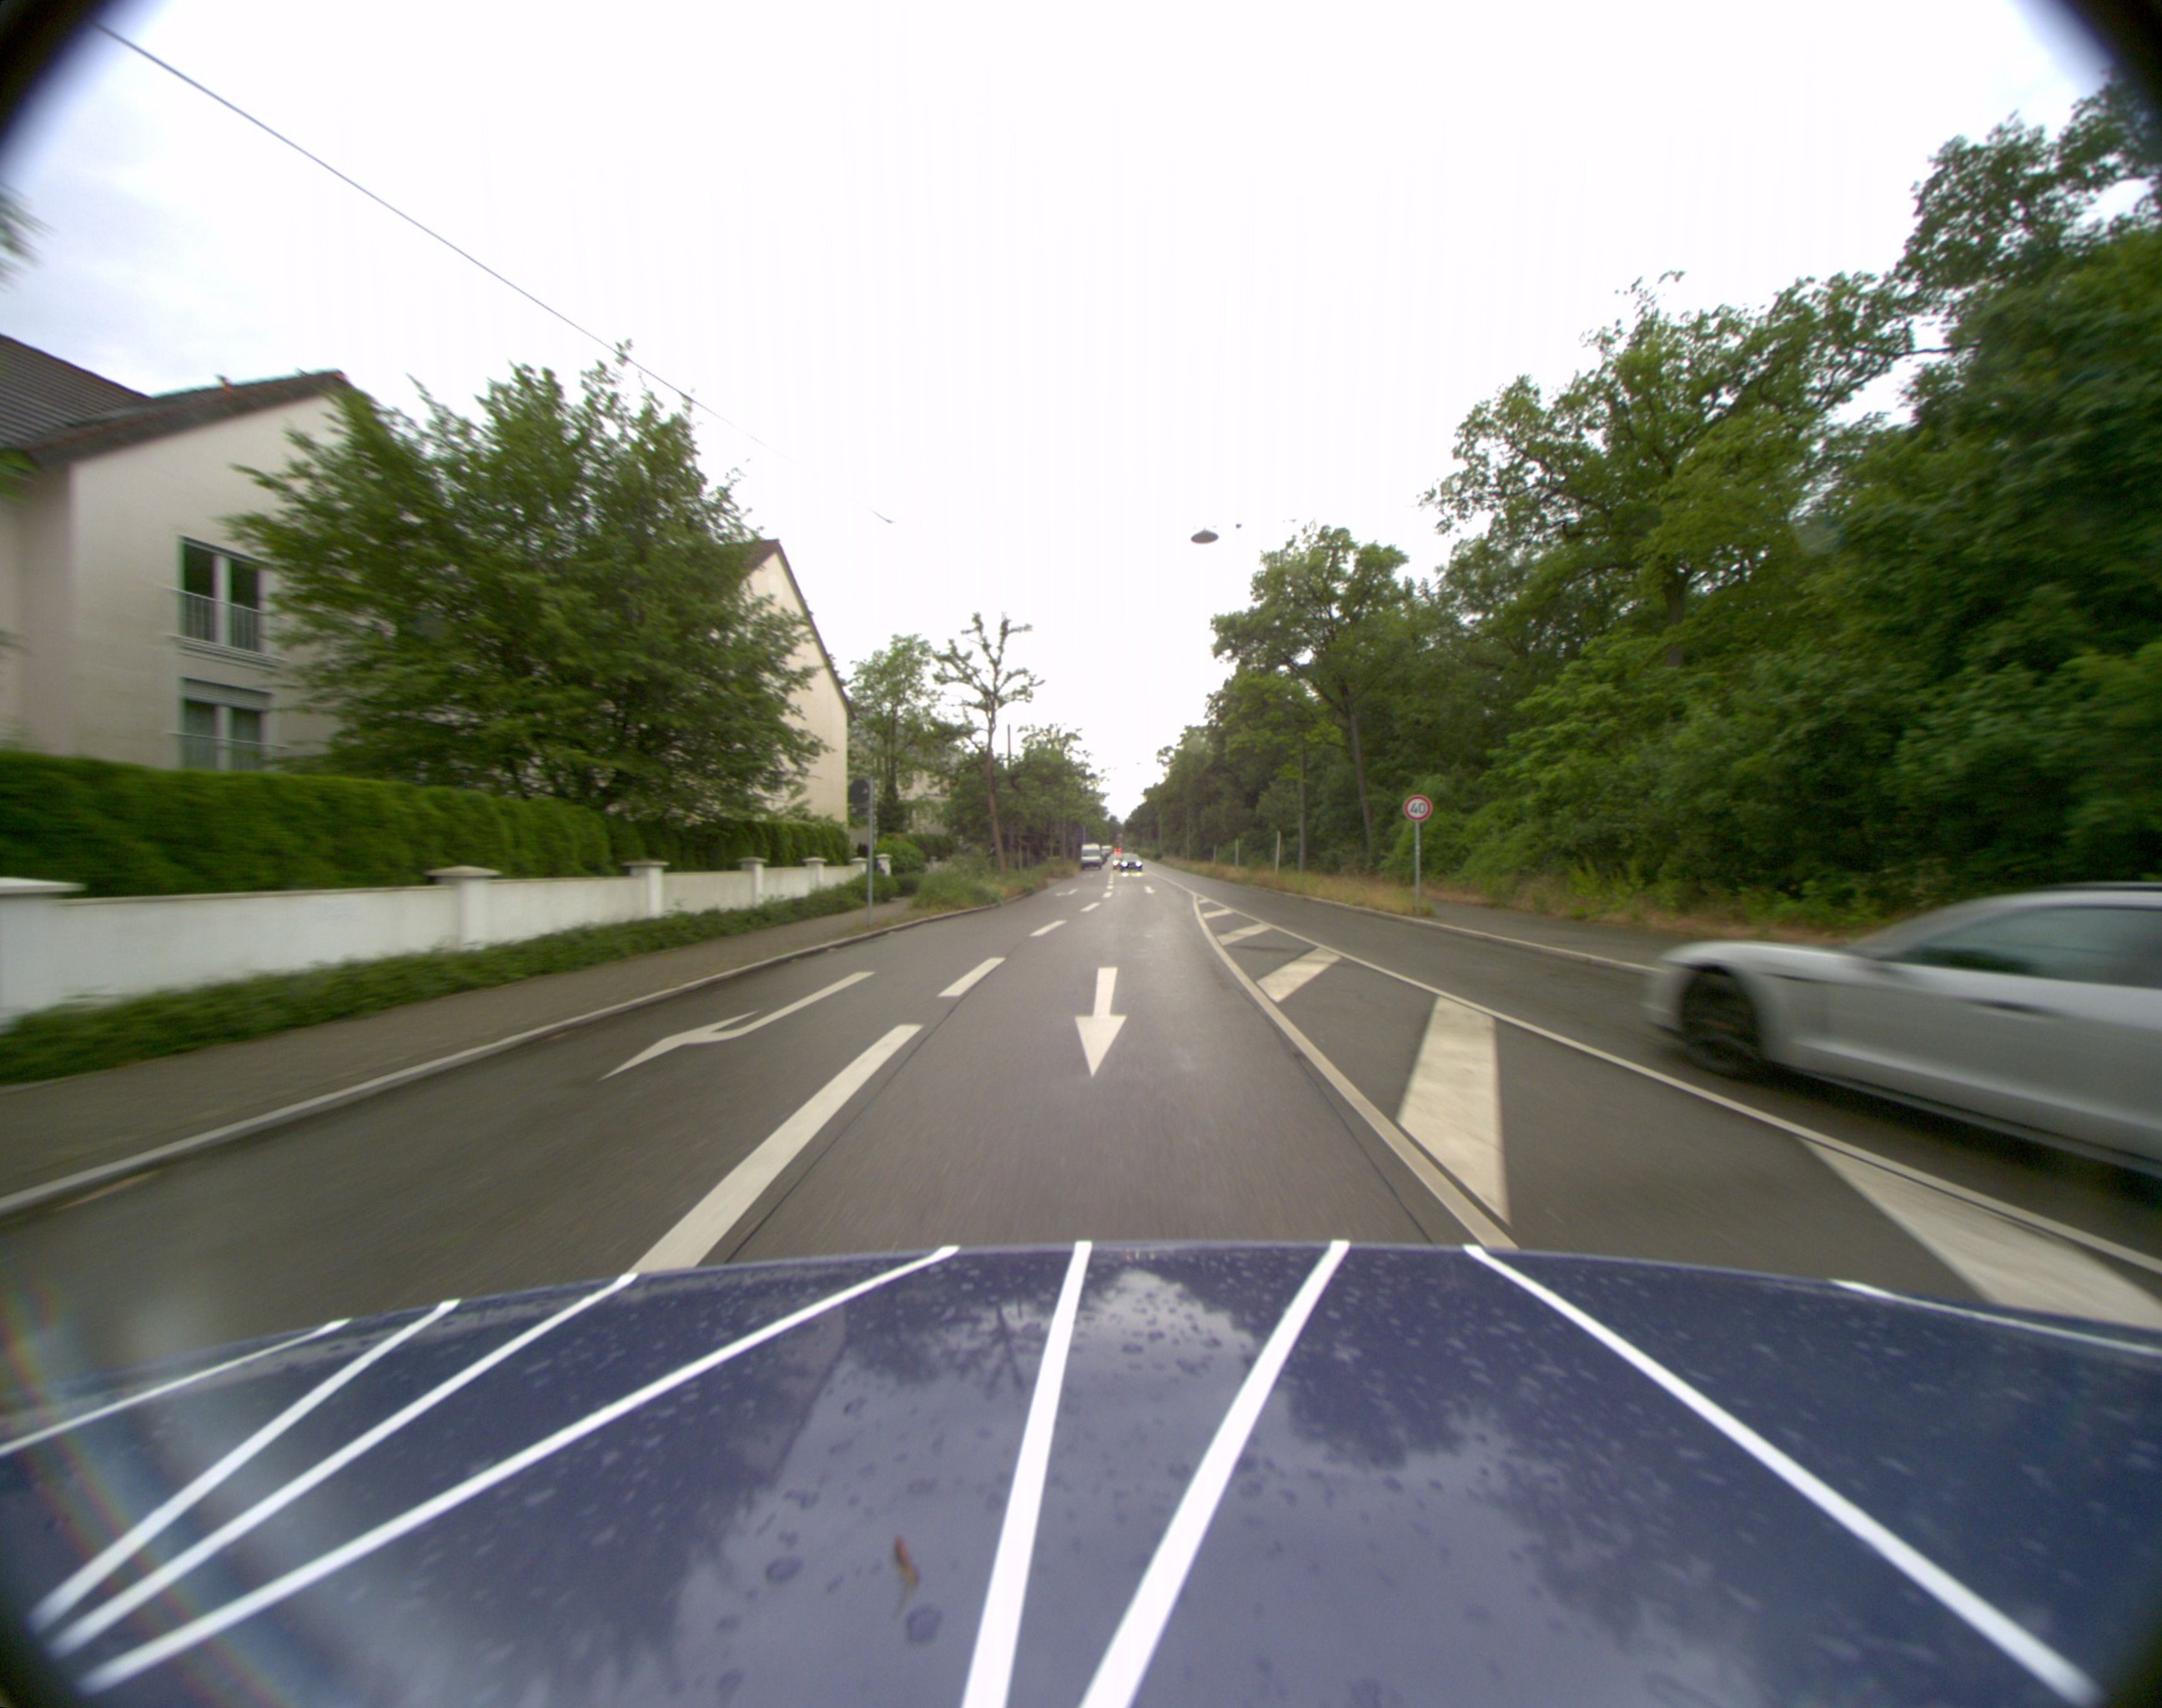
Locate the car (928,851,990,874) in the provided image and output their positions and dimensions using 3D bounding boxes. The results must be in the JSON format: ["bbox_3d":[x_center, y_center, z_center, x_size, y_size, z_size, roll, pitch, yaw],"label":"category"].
[{"bbox_3d":[-7.883,0.544,49.050,3.632,1.357,1.537,-1,1,11],"label":"car"}]

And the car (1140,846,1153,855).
[{"bbox_3d":[11.347,-0.586,131.388,1.944,1.594,4.604,1,0,2],"label":"car"}]

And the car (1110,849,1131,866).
[{"bbox_3d":[3.852,0.328,74.601,1.944,1.594,4.604,1,0,2],"label":"car"}]

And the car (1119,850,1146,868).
[{"bbox_3d":[4.353,0.388,64.745,1.945,1.446,4.604,1,0,0],"label":"car"}]

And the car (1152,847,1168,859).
[{"bbox_3d":[10.859,-0.104,104.843,1.944,1.594,4.604,1,0,2],"label":"car"}]

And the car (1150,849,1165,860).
[{"bbox_3d":[11.399,0.026,113.383,1.944,1.594,4.604,1,0,2],"label":"car"}]

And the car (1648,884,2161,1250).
[{"bbox_3d":[5.342,0.933,3.393,1.946,1.368,4.602,1,0,-4],"label":"car"}]

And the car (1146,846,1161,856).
[{"bbox_3d":[11.400,-0.499,119.727,1.944,1.594,4.604,1,0,2],"label":"car"}]

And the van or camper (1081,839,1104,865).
[{"bbox_3d":[1.204,-0.224,75.762,1.998,2.438,4.723,-1,1,4],"label":"van or camper"}]
